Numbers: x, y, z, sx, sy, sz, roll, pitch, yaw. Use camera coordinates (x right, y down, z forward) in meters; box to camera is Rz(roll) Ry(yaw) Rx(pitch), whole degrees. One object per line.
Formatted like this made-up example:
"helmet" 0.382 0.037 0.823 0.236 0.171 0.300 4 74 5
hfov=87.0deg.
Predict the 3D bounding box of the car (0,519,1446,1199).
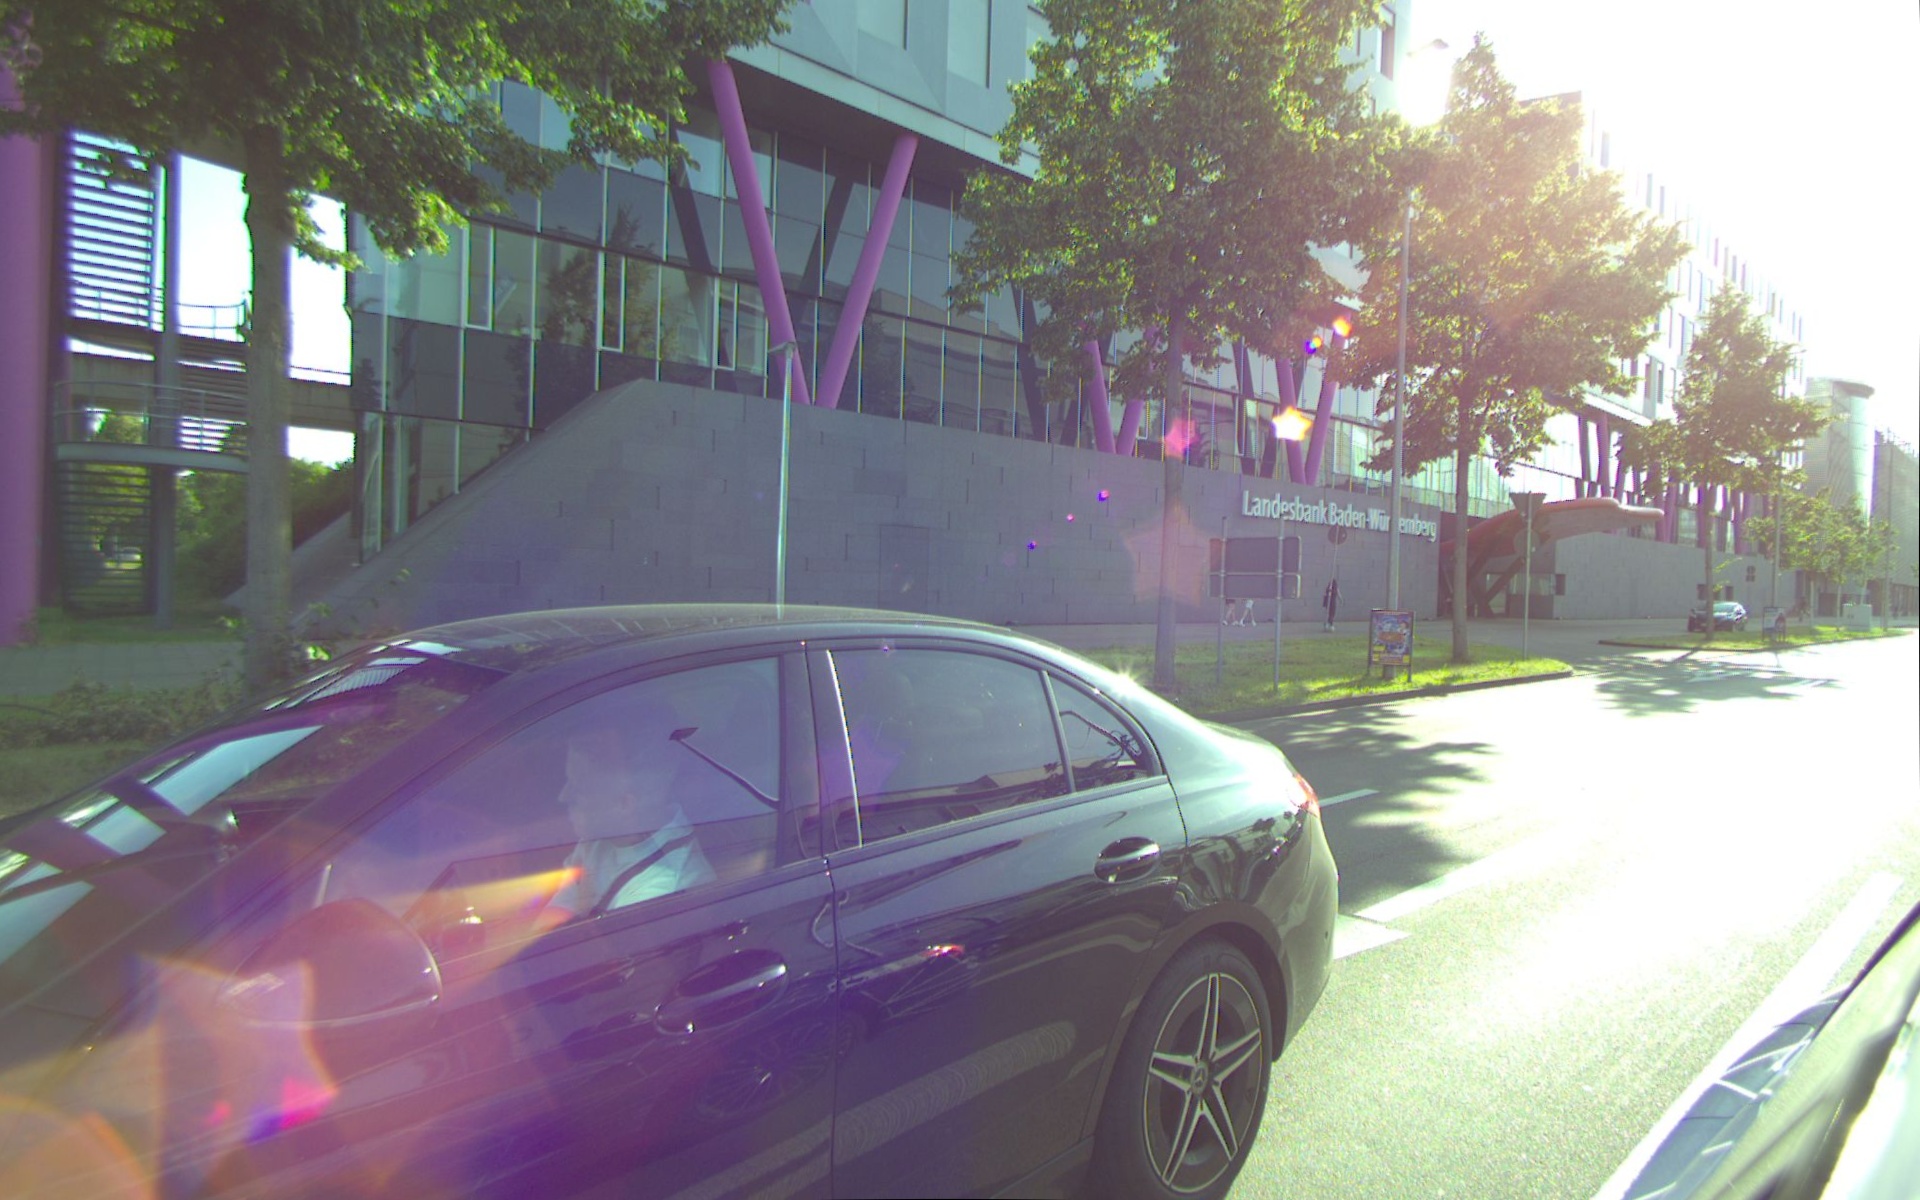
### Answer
"car" -0.920 0.649 2.226 4.473 1.468 1.843 1 0 -39

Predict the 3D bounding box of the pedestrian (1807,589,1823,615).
"pedestrian" 61.029 0.159 72.273 0.758 1.808 0.725 0 1 -41

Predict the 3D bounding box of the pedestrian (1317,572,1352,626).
"pedestrian" 11.791 -0.041 31.882 0.724 1.659 0.695 3 0 -41

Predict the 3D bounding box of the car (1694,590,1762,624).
"car" 34.841 0.320 45.898 4.126 1.407 1.694 1 1 -42

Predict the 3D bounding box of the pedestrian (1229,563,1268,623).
"pedestrian" 8.987 -0.234 31.575 0.829 1.815 0.756 1 3 -41

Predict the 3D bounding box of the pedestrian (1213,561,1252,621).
"pedestrian" 8.643 -0.291 32.074 0.838 1.847 0.769 1 3 -41
